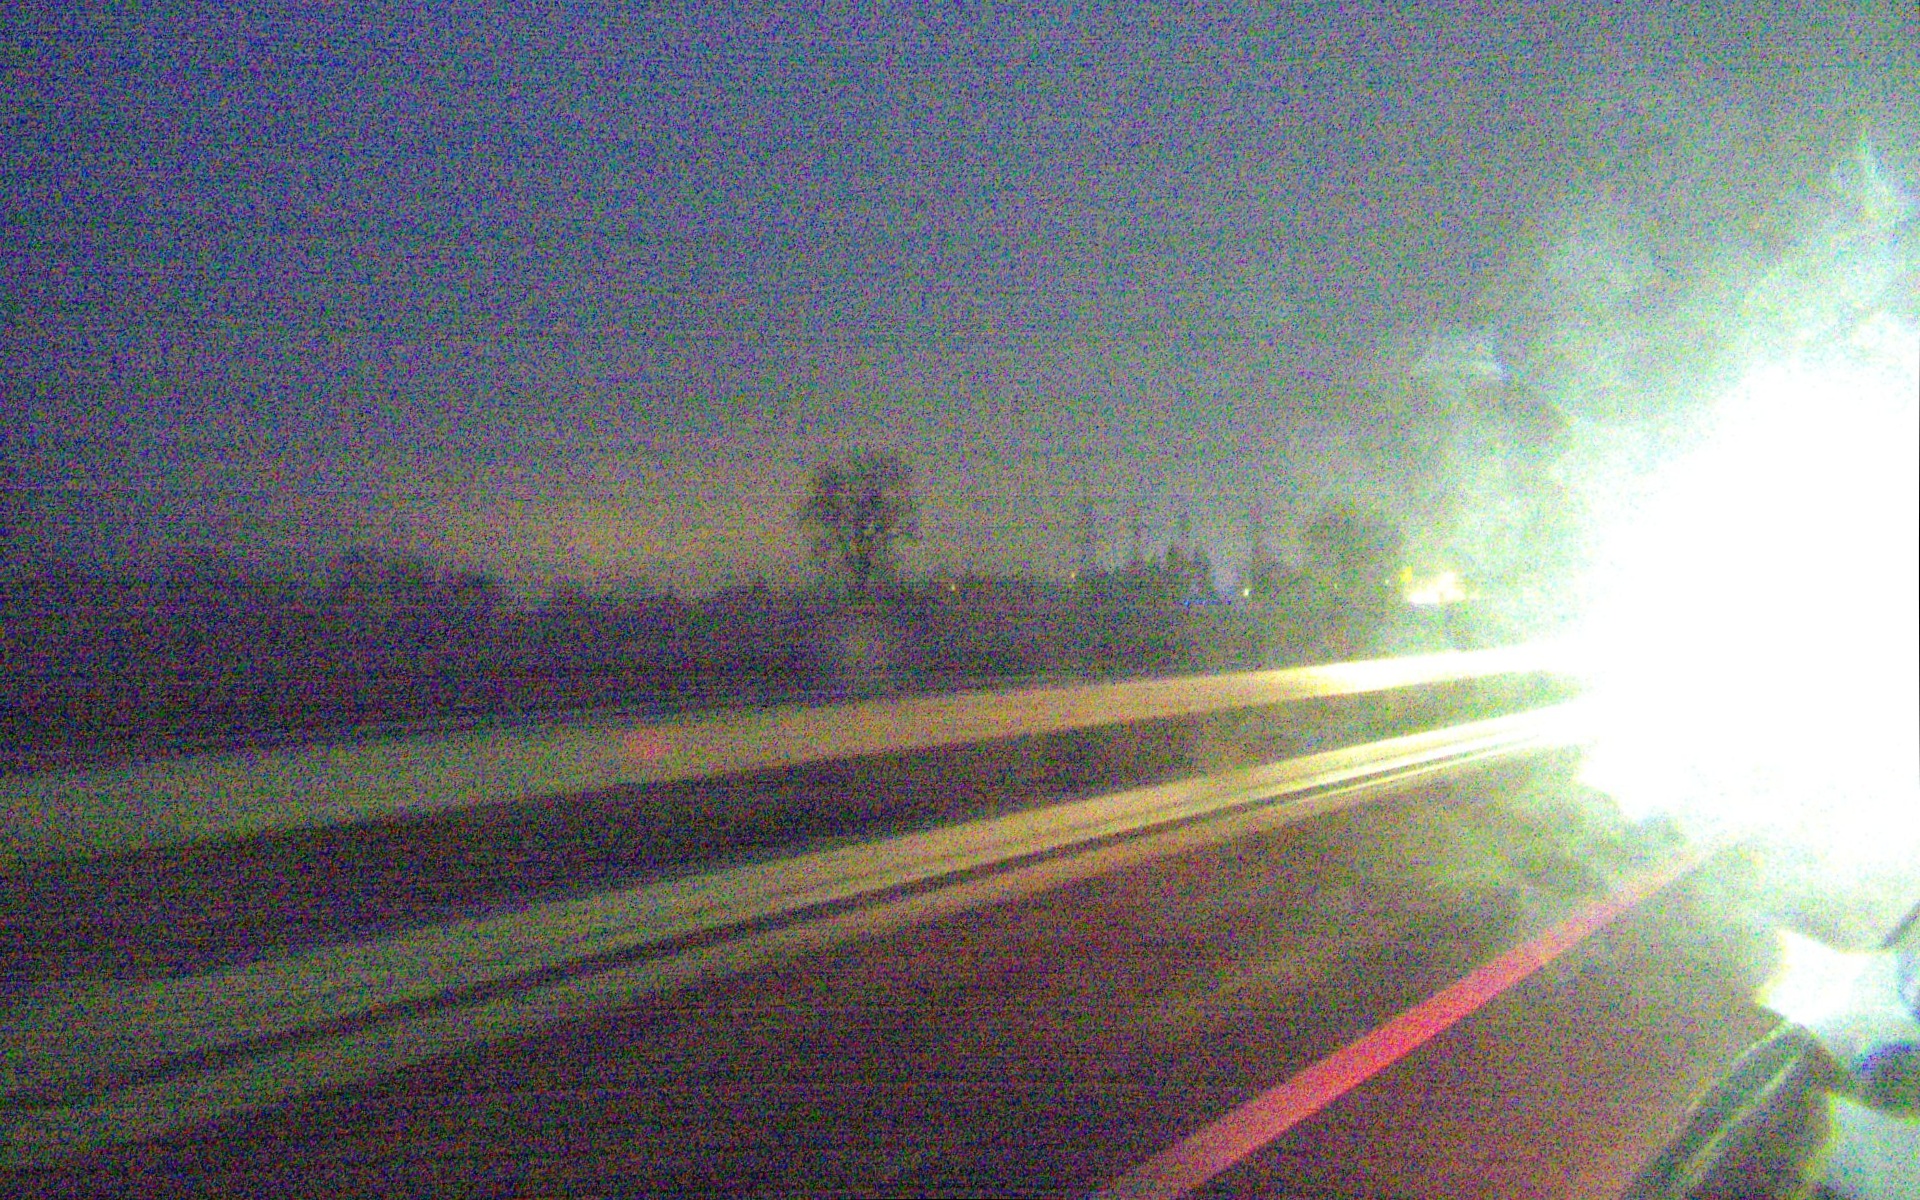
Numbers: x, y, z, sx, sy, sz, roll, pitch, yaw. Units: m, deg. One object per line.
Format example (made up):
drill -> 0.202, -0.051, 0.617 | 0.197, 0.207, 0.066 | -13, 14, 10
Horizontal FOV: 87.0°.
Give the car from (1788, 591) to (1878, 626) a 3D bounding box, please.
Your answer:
car -> 47.298, 0.478, 54.943 | 1.970, 1.770, 4.081 | -3, -2, 14
